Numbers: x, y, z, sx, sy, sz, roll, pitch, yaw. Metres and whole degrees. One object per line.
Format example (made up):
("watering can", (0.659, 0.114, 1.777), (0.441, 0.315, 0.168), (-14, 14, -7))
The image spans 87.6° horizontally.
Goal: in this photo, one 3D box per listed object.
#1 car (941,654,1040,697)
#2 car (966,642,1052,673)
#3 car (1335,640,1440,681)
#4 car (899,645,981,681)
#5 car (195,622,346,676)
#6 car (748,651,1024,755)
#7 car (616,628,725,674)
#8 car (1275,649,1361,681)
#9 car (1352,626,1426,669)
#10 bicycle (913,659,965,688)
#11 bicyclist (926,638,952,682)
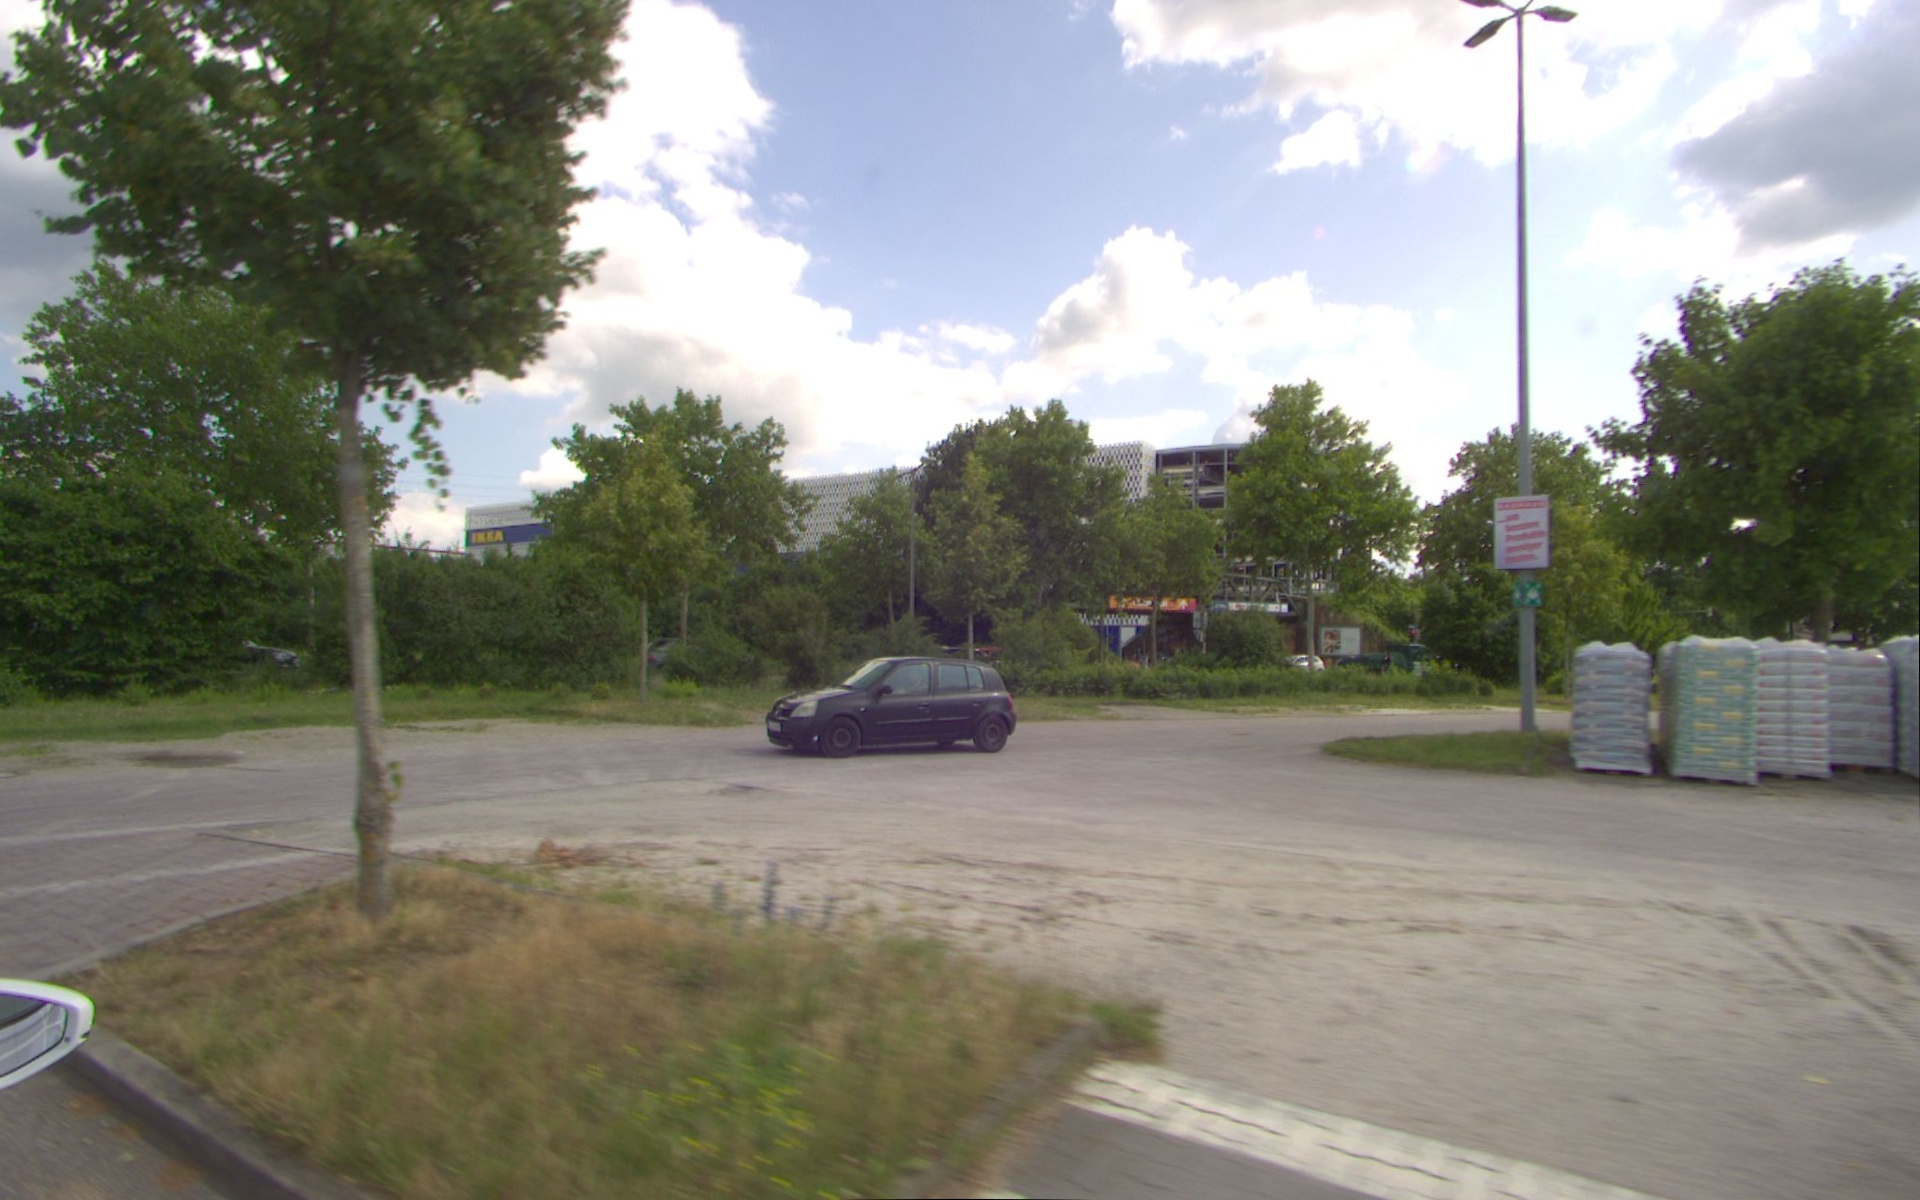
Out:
("car", (1.362, 3.376, 44.857), (3.936, 1.736, 1.995), (0, -4, -25))
("car", (2.810, 3.312, 57.717), (4.515, 1.690, 1.997), (2, -2, -18))
("car", (23.323, 3.303, 54.578), (5.306, 2.038, 2.243), (0, -4, -25))
("car", (-1.087, 3.354, 53.292), (3.931, 1.831, 1.996), (1, -2, -19))
("car", (-23.538, 1.687, 34.372), (3.937, 1.737, 1.993), (2, -2, -25))
("car", (-1.050, 1.444, 14.756), (3.734, 1.338, 1.604), (2, -2, -31))
("car", (-11.530, 2.042, 39.859), (3.937, 1.737, 1.993), (2, -2, -25))
("car", (22.681, 4.122, 63.471), (4.715, 1.983, 2.246), (1, -4, -20))
("car", (26.741, 2.988, 62.480), (4.085, 2.573, 1.733), (1, -4, -19))
("bicycle", (-0.768, 2.731, 37.046), (1.840, 1.050, 0.526), (1, -4, -23))
("bicyclist", (-0.777, 2.217, 37.083), (0.750, 1.611, 0.635), (1, -4, -22))
